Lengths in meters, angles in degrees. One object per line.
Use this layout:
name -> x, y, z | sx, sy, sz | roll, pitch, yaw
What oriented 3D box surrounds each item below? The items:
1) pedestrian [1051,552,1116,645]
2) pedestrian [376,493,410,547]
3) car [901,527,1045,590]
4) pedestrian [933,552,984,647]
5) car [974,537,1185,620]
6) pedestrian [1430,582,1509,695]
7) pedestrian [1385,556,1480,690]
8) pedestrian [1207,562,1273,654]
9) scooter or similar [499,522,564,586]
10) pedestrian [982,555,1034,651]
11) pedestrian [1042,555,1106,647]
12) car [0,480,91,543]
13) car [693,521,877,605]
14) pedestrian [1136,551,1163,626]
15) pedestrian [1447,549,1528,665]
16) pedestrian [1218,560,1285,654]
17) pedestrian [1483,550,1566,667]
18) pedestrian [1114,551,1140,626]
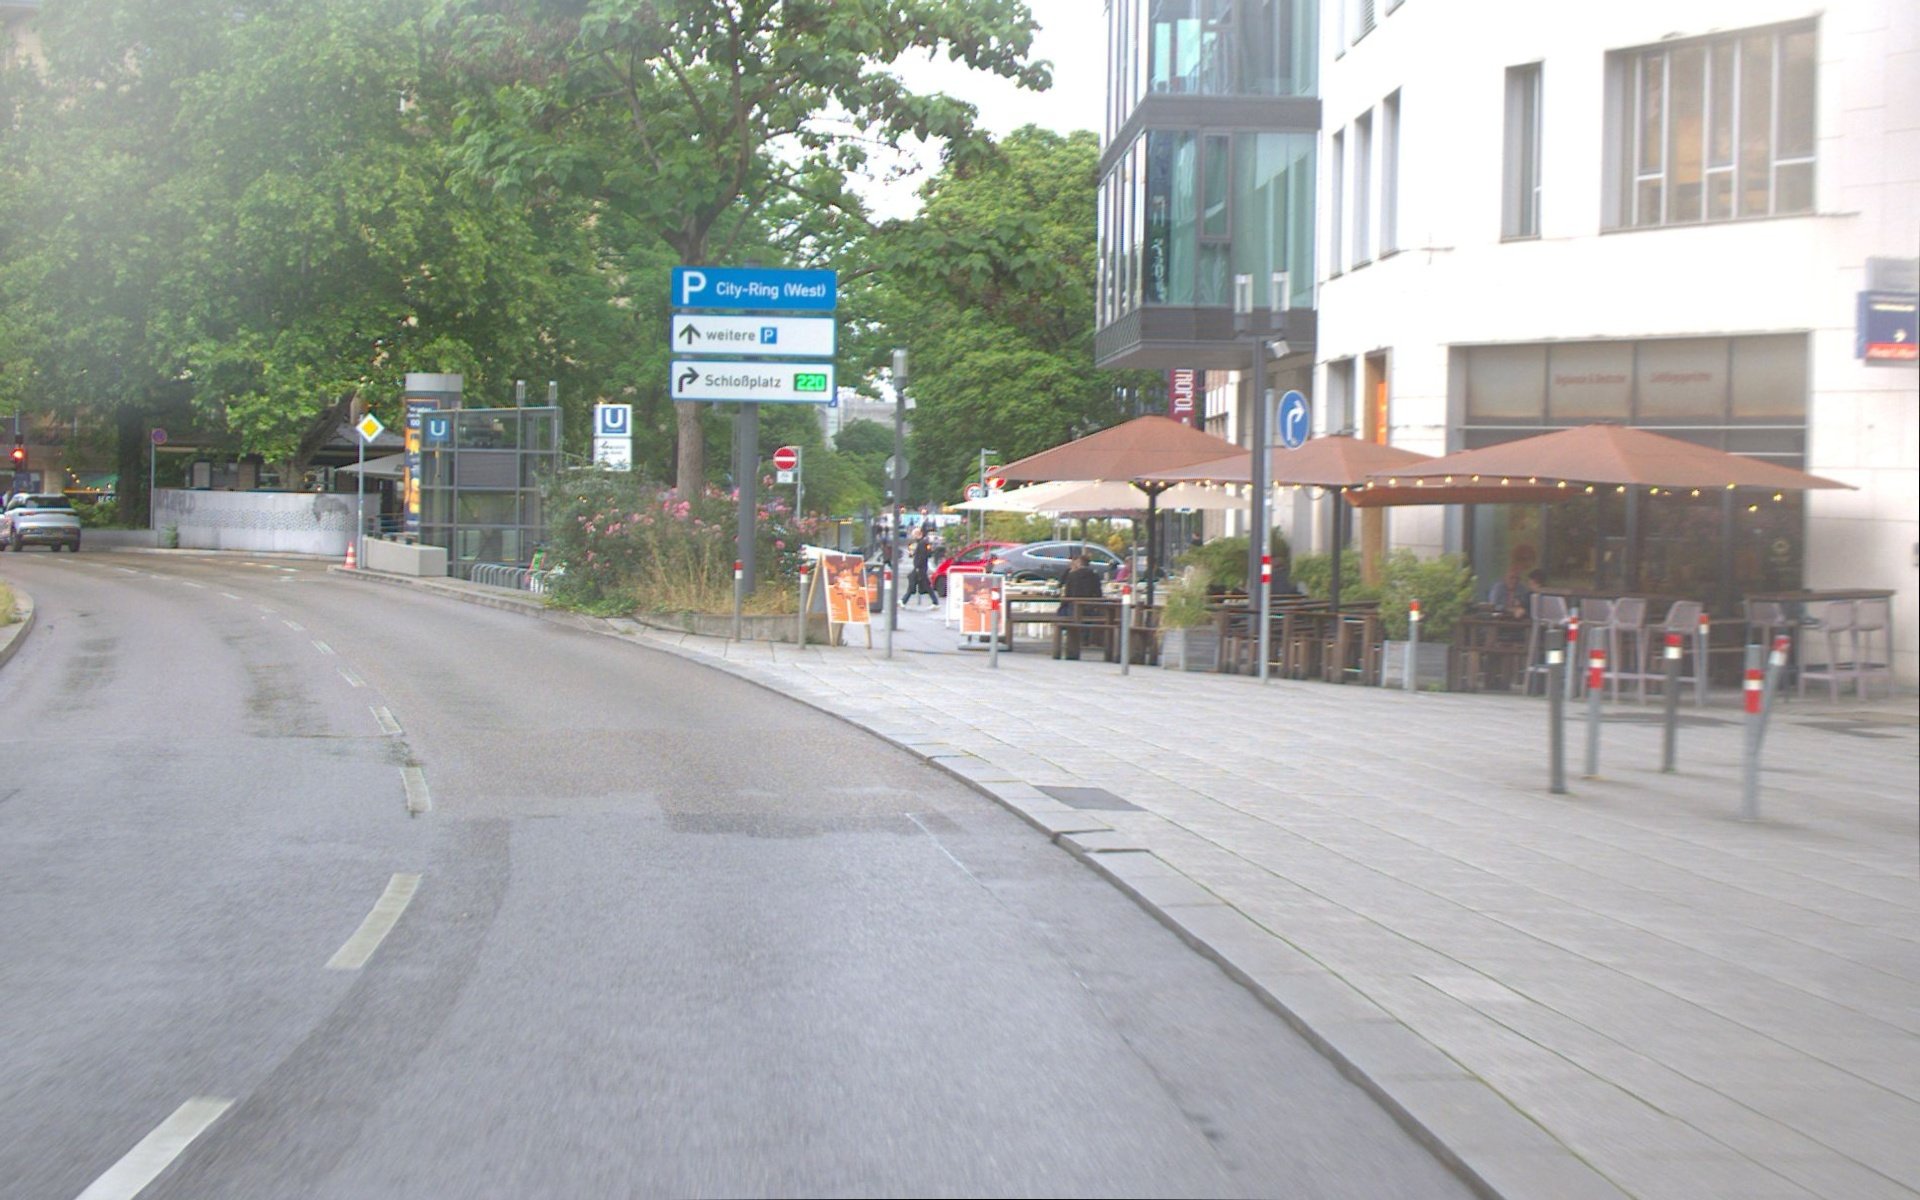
pedestrian -> 1.821, -0.025, 50.884 | 0.817, 1.322, 0.636 | 4, 1, -4
pedestrian -> -15.400, -2.170, 93.398 | 0.684, 1.405, 0.905 | 3, 0, -19
car -> 0.314, -1.067, 87.603 | 1.610, 1.411, 3.527 | 2, 1, -44
pedestrian -> -0.022, -0.010, 48.957 | 0.606, 1.322, 0.567 | 4, 1, -4
car -> 2.748, -0.520, 79.857 | 4.734, 1.685, 2.005 | 2, 2, 0
pedestrian -> 6.215, 0.466, 41.914 | 0.626, 1.322, 0.636 | 3, 1, -25
pedestrian -> 4.883, 0.231, 35.564 | 0.773, 1.322, 0.636 | 4, 1, -5
pedestrian -> 4.204, 0.114, 51.709 | 0.817, 1.322, 0.636 | 4, 1, -4
scooter or similar -> -8.087, -0.873, 64.824 | 1.112, 1.154, 0.443 | 2, 1, -18
pedestrian -> 0.680, 0.038, 49.024 | 0.606, 1.322, 0.567 | 4, 1, -4
pedestrian -> 1.706, 0.016, 51.657 | 0.817, 1.322, 0.636 | 4, 1, -4
car -> -25.885, -2.485, 96.971 | 1.946, 1.660, 4.346 | 1, 1, -24
car -> -4.088, -0.852, 79.871 | 4.096, 1.615, 1.863 | 4, 0, -5
pedestrian -> 3.572, -0.221, 64.838 | 0.434, 1.399, 0.478 | 1, 1, -2
pedestrian -> 6.269, 0.081, 40.888 | 0.626, 1.322, 0.636 | 3, 1, -25
pedestrian -> 4.315, 0.101, 50.924 | 0.817, 1.322, 0.636 | 4, 1, -4
pedestrian -> 6.593, 0.096, 40.142 | 0.626, 1.322, 0.636 | 3, 1, -25
pedestrian -> 3.129, -0.221, 64.439 | 0.434, 1.399, 0.478 | 1, 1, -2
